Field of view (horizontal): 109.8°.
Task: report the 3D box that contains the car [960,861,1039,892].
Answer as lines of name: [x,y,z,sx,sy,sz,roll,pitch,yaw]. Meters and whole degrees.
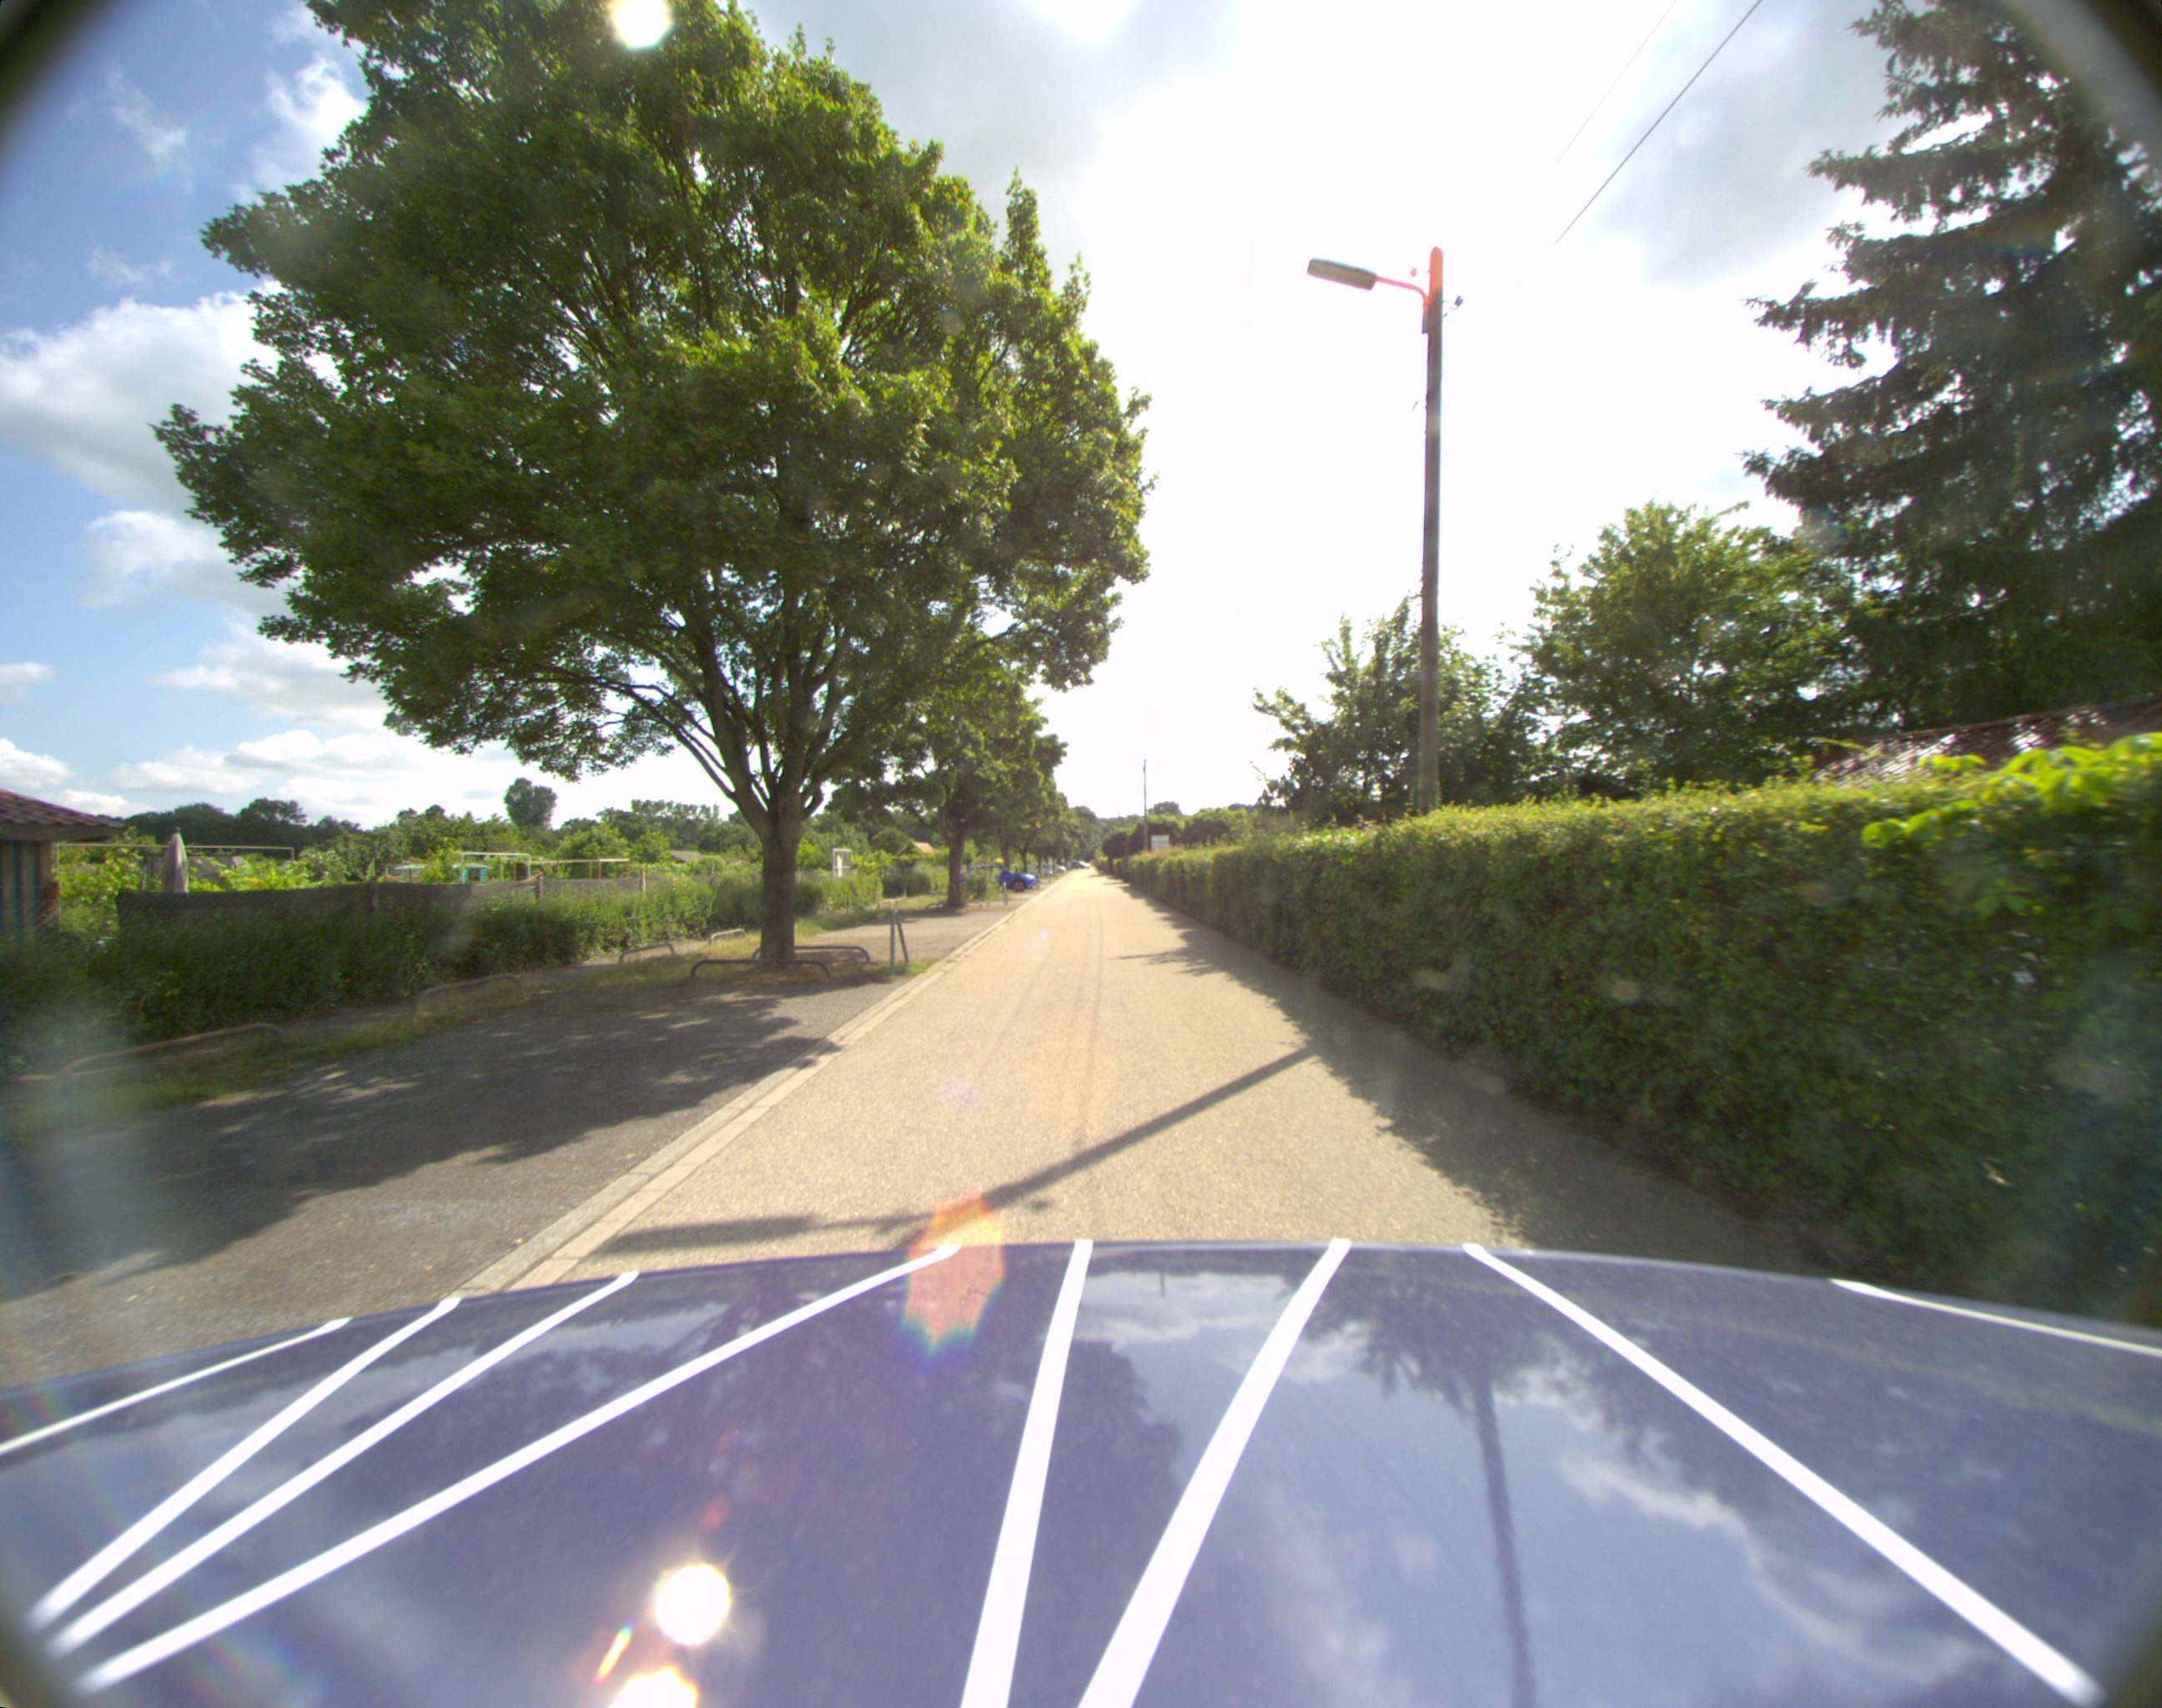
car: [-4.402,1.224,41.525,4.116,1.573,1.781,-1,0,-1]

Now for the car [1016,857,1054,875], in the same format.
car: [-4.921,1.255,81.525,3.929,1.740,2.000,-3,1,0]

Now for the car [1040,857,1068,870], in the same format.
car: [-3.859,1.339,110.134,3.929,1.740,2.000,-3,1,0]

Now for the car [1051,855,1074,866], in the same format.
car: [-3.428,1.123,138.415,3.998,1.824,1.999,-3,1,-3]
